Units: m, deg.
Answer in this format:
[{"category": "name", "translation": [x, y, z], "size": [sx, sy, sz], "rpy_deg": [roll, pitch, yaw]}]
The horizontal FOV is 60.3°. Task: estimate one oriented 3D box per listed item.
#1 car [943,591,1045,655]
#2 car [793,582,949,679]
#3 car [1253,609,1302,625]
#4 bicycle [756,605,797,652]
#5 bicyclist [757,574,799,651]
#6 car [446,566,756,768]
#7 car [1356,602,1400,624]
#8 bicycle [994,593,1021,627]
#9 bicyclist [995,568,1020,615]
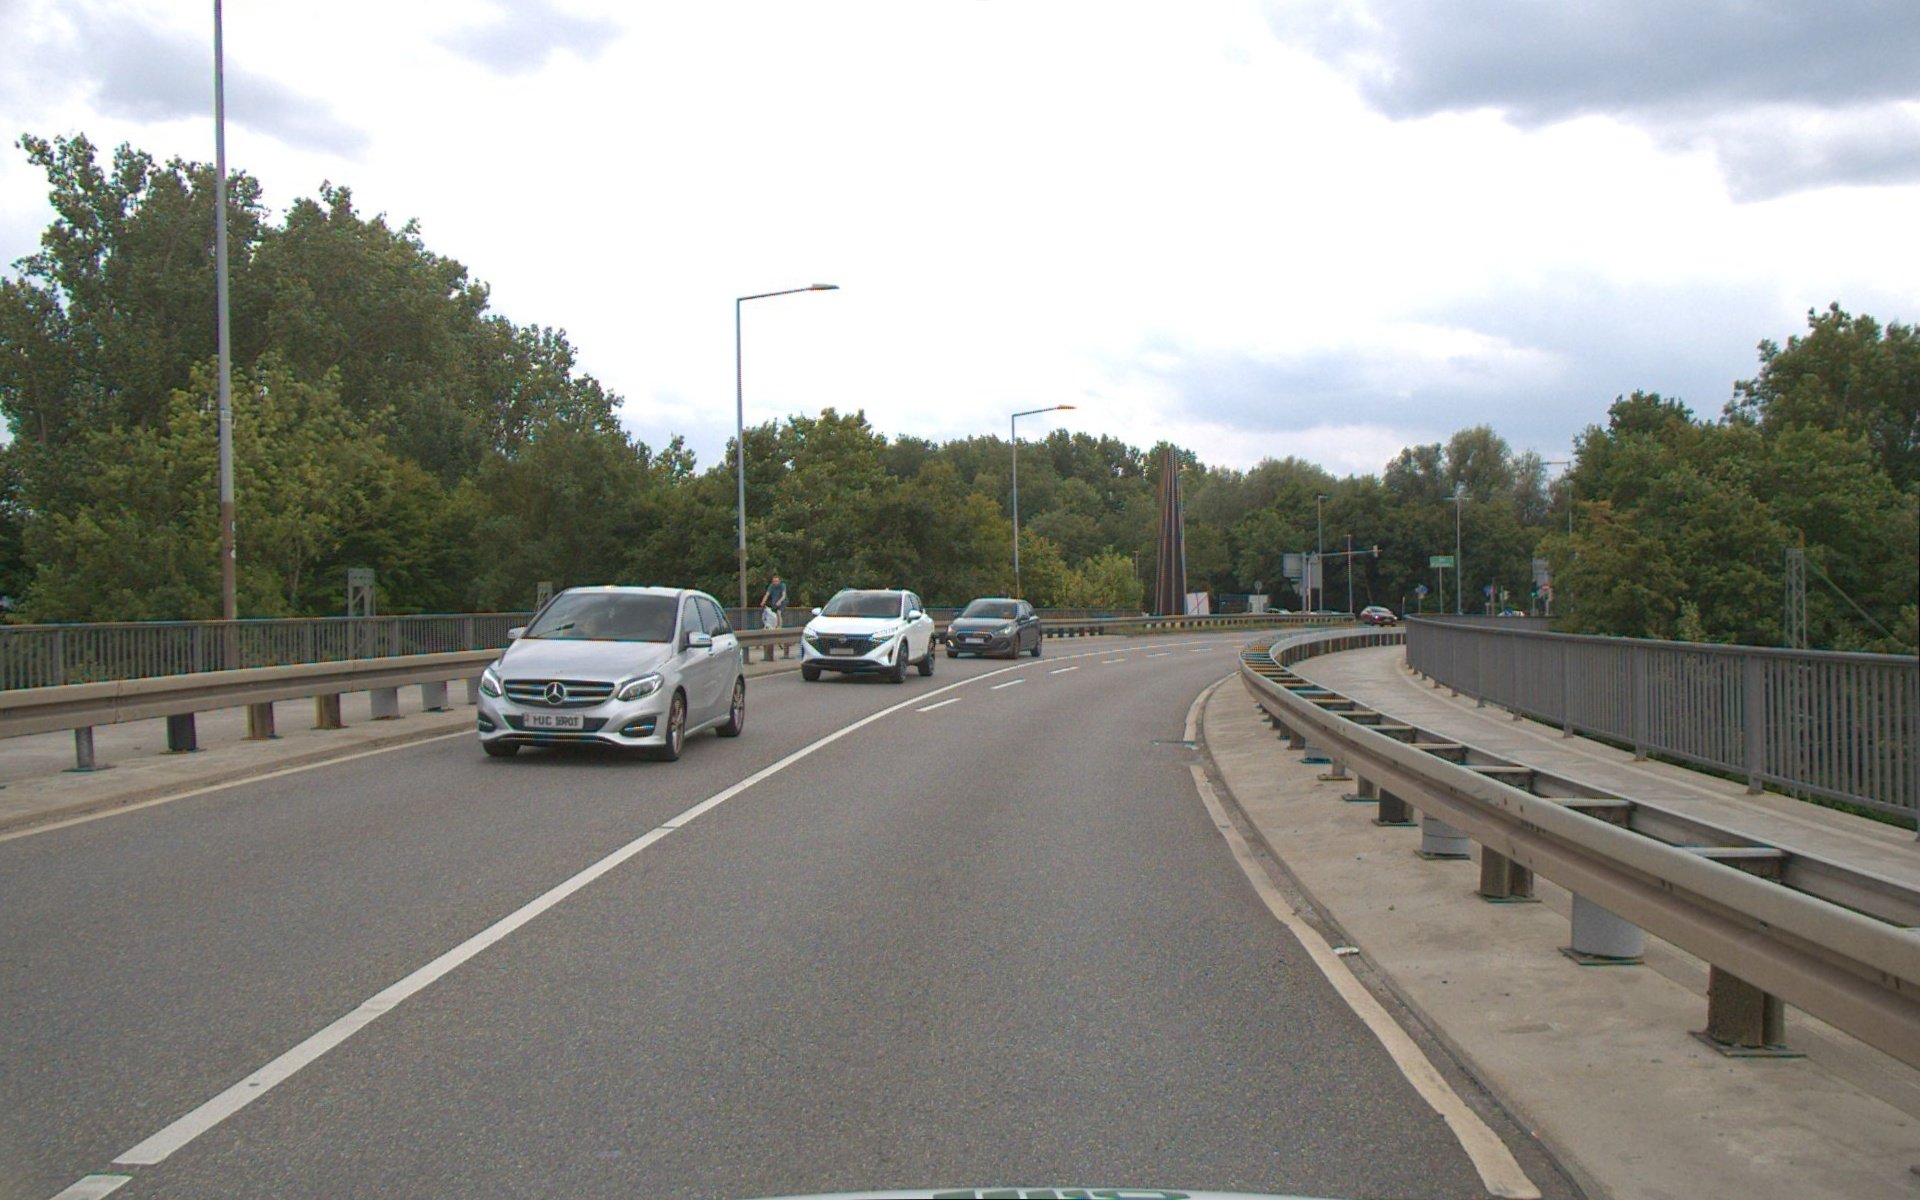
[{"category": "car", "translation": [0.920, 0.562, 41.686], "size": [1.770, 1.503, 4.386], "rpy_deg": [1, 0, 12]}, {"category": "car", "translation": [-1.537, 0.524, 30.506], "size": [1.899, 1.621, 4.778], "rpy_deg": [1, 0, 9]}, {"category": "car", "translation": [26.849, 1.445, 139.989], "size": [1.978, 1.333, 3.758], "rpy_deg": [1, 0, -36]}, {"category": "bicycle", "translation": [-4.444, 0.679, 40.172], "size": [0.632, 1.086, 1.762], "rpy_deg": [1, 0, 6]}, {"category": "bicyclist", "translation": [-4.414, 0.306, 40.217], "size": [0.830, 1.840, 0.797], "rpy_deg": [1, 0, 6]}, {"category": "car", "translation": [-3.267, 0.557, 15.983], "size": [1.780, 1.648, 4.400], "rpy_deg": [1, 0, 3]}, {"category": "car", "translation": [30.188, 0.915, 119.605], "size": [1.760, 1.498, 4.632], "rpy_deg": [1, 0, -3]}, {"category": "bicycle", "translation": [1.732, 0.350, 60.181], "size": [0.621, 1.194, 1.908], "rpy_deg": [1, 0, 13]}, {"category": "bicyclist", "translation": [1.727, -0.313, 60.146], "size": [0.755, 1.660, 0.649], "rpy_deg": [1, -1, 16]}]
